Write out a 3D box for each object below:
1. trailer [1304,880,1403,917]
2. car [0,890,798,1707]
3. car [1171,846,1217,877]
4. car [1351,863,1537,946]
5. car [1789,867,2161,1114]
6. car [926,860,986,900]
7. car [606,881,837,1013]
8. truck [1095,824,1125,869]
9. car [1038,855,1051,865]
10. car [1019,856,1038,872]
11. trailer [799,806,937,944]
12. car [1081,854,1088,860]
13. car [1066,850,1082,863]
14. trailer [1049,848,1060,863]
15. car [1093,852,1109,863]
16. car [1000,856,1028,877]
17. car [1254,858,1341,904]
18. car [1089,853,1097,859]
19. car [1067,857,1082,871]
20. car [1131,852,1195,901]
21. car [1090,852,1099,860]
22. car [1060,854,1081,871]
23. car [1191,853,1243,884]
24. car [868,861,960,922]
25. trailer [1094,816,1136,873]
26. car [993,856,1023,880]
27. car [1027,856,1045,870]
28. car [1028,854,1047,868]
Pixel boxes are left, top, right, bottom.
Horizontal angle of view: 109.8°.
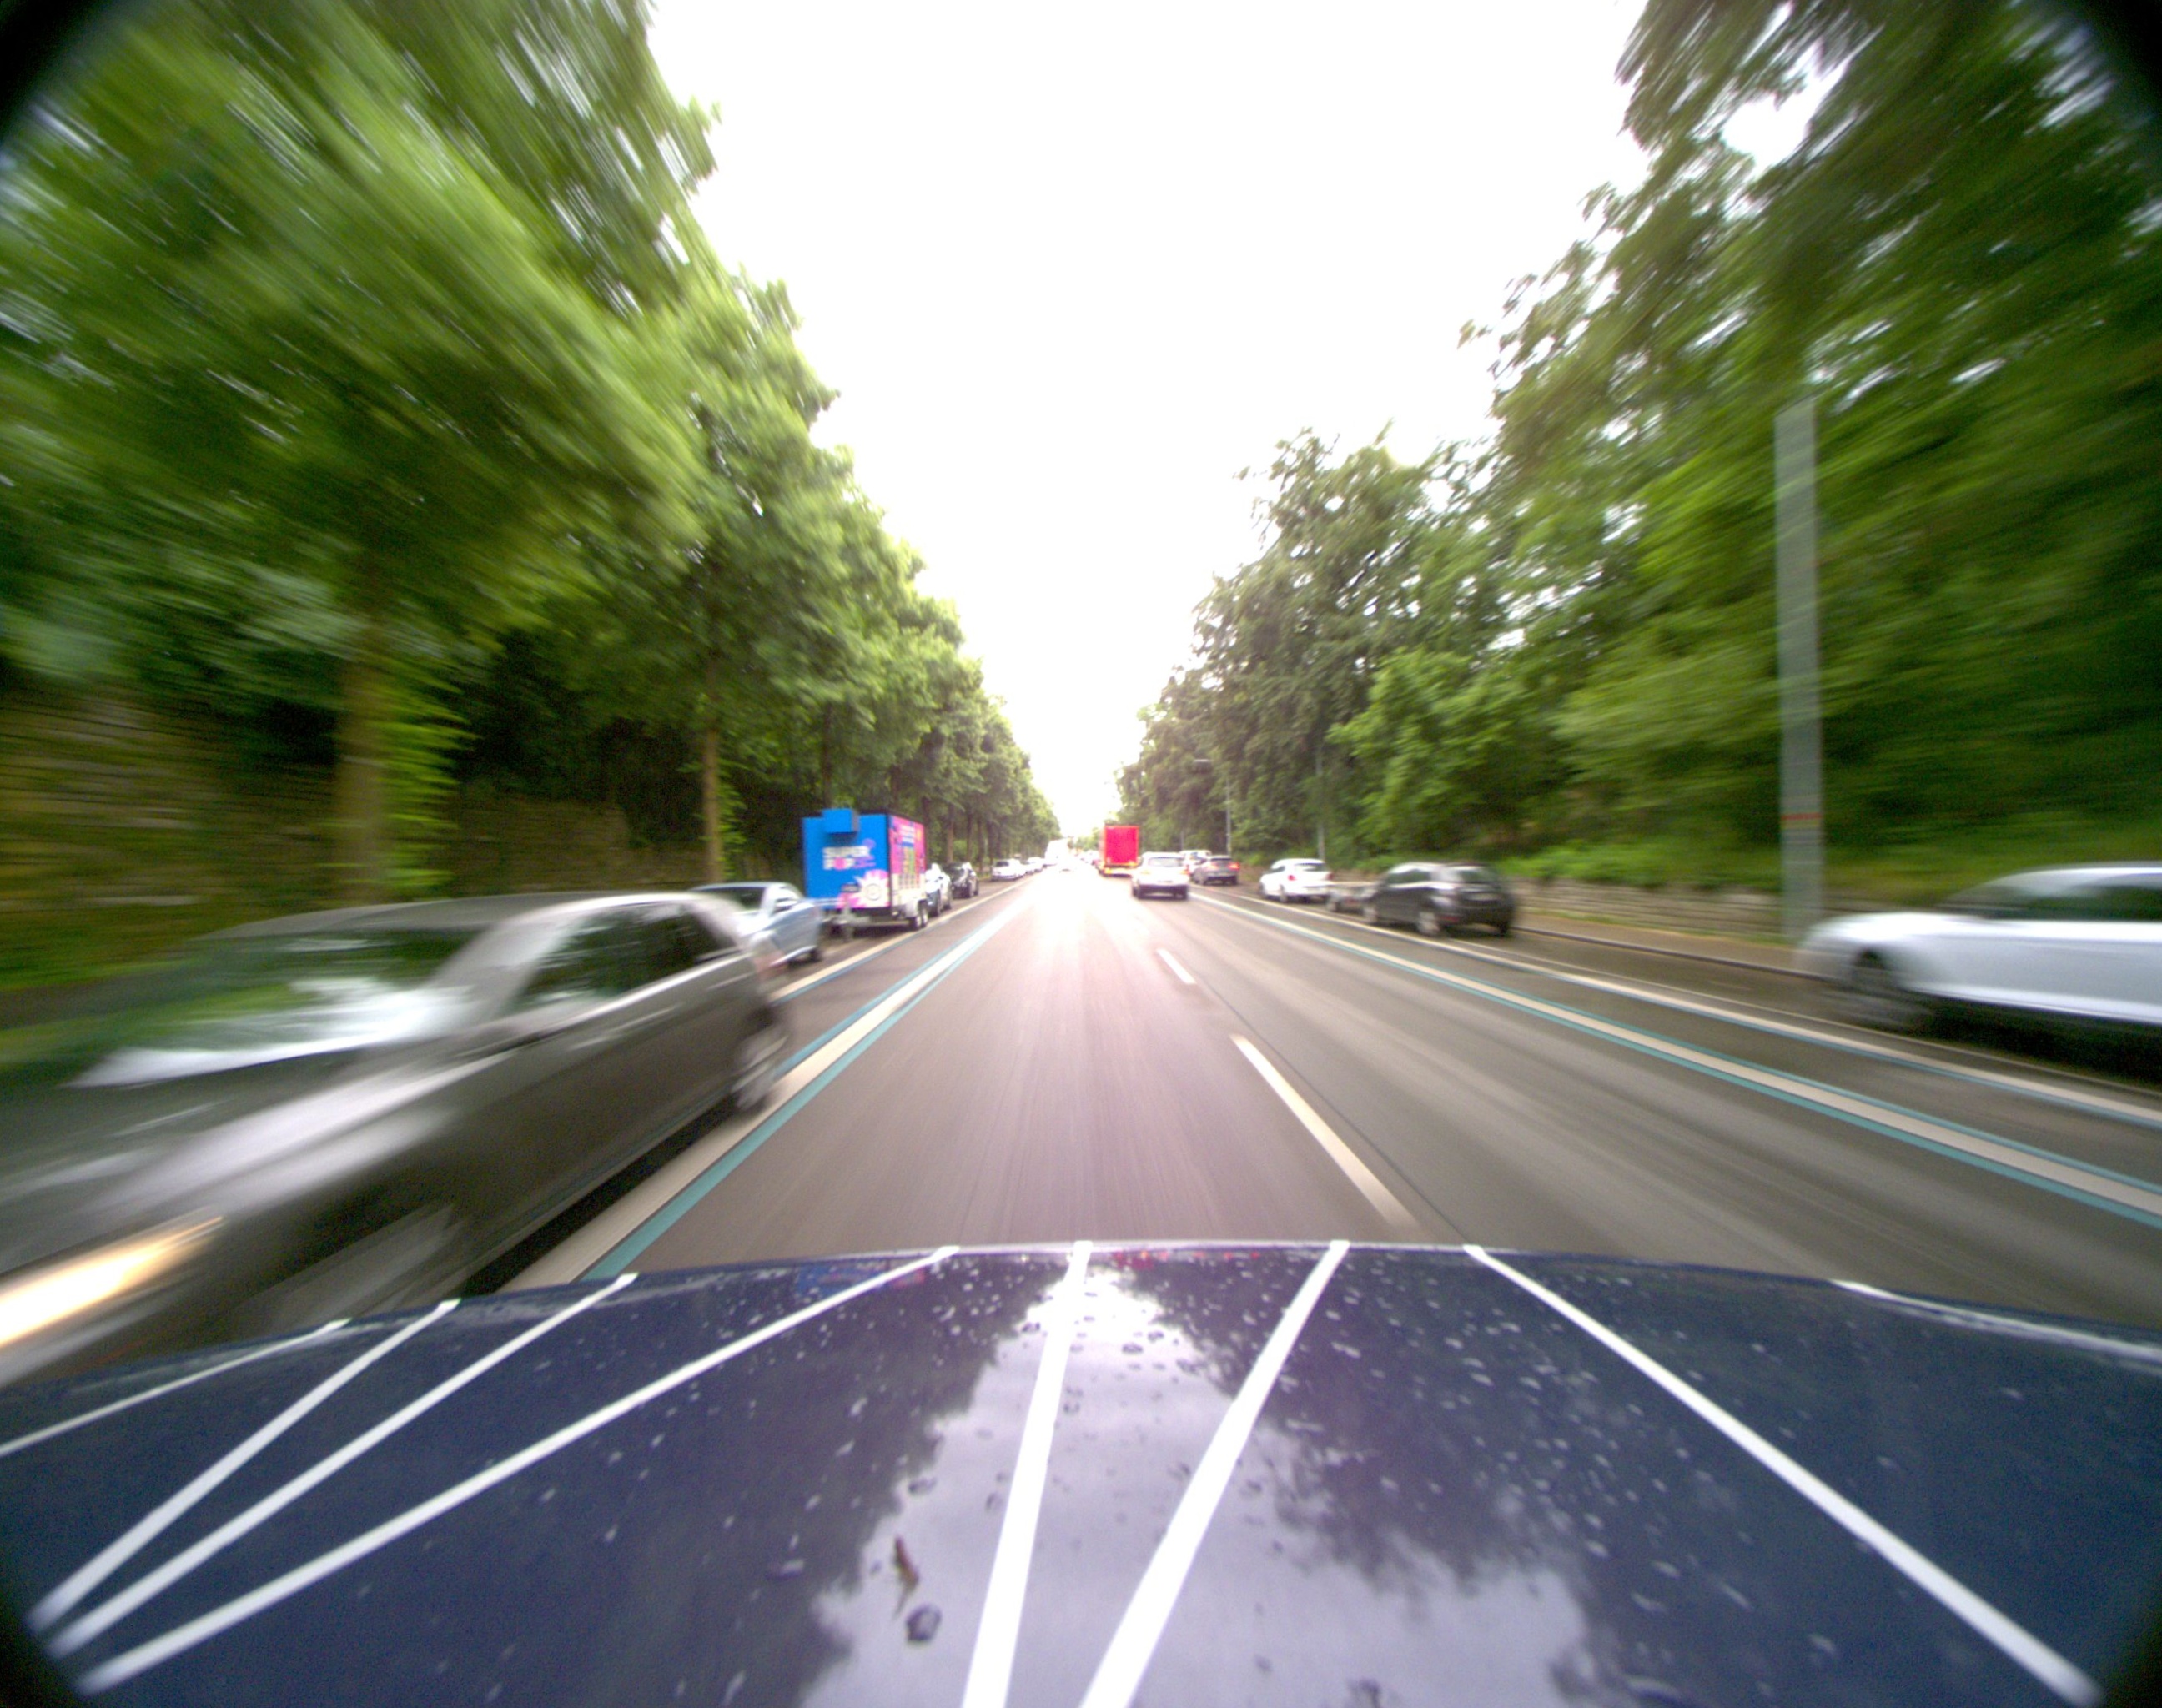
[{"bbox_3d":[7.663,1.241,21.668,1.547,0.814,3.304,-1,0,-2],"label":"trailer"},{"bbox_3d":[-2.930,1.024,3.146,1.822,1.499,4.139,-1,0,2],"label":"car"},{"bbox_3d":[7.718,0.519,52.393,1.979,1.993,5.016,-2,0,-4],"label":"car"},{"bbox_3d":[7.469,0.962,16.118,1.836,1.468,4.039,-1,0,-3],"label":"car"},{"bbox_3d":[7.852,0.906,5.369,1.692,1.537,4.232,-1,0,-1],"label":"car"},{"bbox_3d":[-5.293,1.055,32.772,1.830,1.494,4.570,-1,0,-1],"label":"car"},{"bbox_3d":[-4.909,1.179,11.015,1.588,1.345,3.861,-3,0,-3],"label":"car"},{"bbox_3d":[2.618,-0.689,70.576,2.524,4.023,4.916,1,0,0],"label":"truck"},{"bbox_3d":[-5.322,0.875,111.269,1.700,1.468,3.997,-1,0,-2],"label":"car"},{"bbox_3d":[-5.128,0.989,74.687,1.702,1.445,4.097,-3,0,-2],"label":"car"},{"bbox_3d":[-4.708,0.427,17.432,1.957,2.742,4.006,-2,0,0],"label":"trailer"},{"bbox_3d":[1.181,0.996,246.189,2.043,1.639,4.477,-1,0,1],"label":"car"},{"bbox_3d":[-0.833,0.311,96.495,1.998,1.629,4.000,-1,1,0],"label":"car"},{"bbox_3d":[-4.928,0.247,140.258,1.988,2.550,3.999,-2,0,-3],"label":"trailer"},{"bbox_3d":[2.574,0.419,97.763,1.920,1.448,4.620,1,0,0],"label":"car"},{"bbox_3d":[-5.349,0.986,61.524,1.702,1.504,4.469,-3,0,1],"label":"car"},{"bbox_3d":[7.495,0.892,26.680,1.794,1.473,3.982,-1,0,-2],"label":"car"},{"bbox_3d":[3.104,0.508,196.284,1.959,1.629,4.444,0,0,0],"label":"car"},{"bbox_3d":[-0.768,1.248,96.314,1.850,1.719,3.730,-1,0,0],"label":"car"},{"bbox_3d":[2.969,0.766,28.325,1.839,1.657,4.180,1,0,-1],"label":"car"},{"bbox_3d":[2.566,0.440,146.012,1.780,1.457,4.062,1,0,0],"label":"car"},{"bbox_3d":[-1.063,0.864,78.288,1.998,1.589,4.000,-2,0,0],"label":"car"},{"bbox_3d":[7.659,0.789,43.323,2.015,1.596,4.779,-1,0,-1],"label":"car"},{"bbox_3d":[-4.954,1.044,23.173,1.904,1.538,4.754,-2,0,-3],"label":"car"},{"bbox_3d":[2.655,-0.743,62.917,2.694,4.234,12.767,1,0,-1],"label":"trailer"},{"bbox_3d":[-5.284,1.017,55.437,1.758,1.587,4.739,-2,0,-1],"label":"car"},{"bbox_3d":[-5.018,1.000,84.981,1.702,1.445,3.946,-3,0,-1],"label":"car"},{"bbox_3d":[-5.252,0.831,91.704,1.999,1.652,4.562,-2,0,-1],"label":"car"}]
